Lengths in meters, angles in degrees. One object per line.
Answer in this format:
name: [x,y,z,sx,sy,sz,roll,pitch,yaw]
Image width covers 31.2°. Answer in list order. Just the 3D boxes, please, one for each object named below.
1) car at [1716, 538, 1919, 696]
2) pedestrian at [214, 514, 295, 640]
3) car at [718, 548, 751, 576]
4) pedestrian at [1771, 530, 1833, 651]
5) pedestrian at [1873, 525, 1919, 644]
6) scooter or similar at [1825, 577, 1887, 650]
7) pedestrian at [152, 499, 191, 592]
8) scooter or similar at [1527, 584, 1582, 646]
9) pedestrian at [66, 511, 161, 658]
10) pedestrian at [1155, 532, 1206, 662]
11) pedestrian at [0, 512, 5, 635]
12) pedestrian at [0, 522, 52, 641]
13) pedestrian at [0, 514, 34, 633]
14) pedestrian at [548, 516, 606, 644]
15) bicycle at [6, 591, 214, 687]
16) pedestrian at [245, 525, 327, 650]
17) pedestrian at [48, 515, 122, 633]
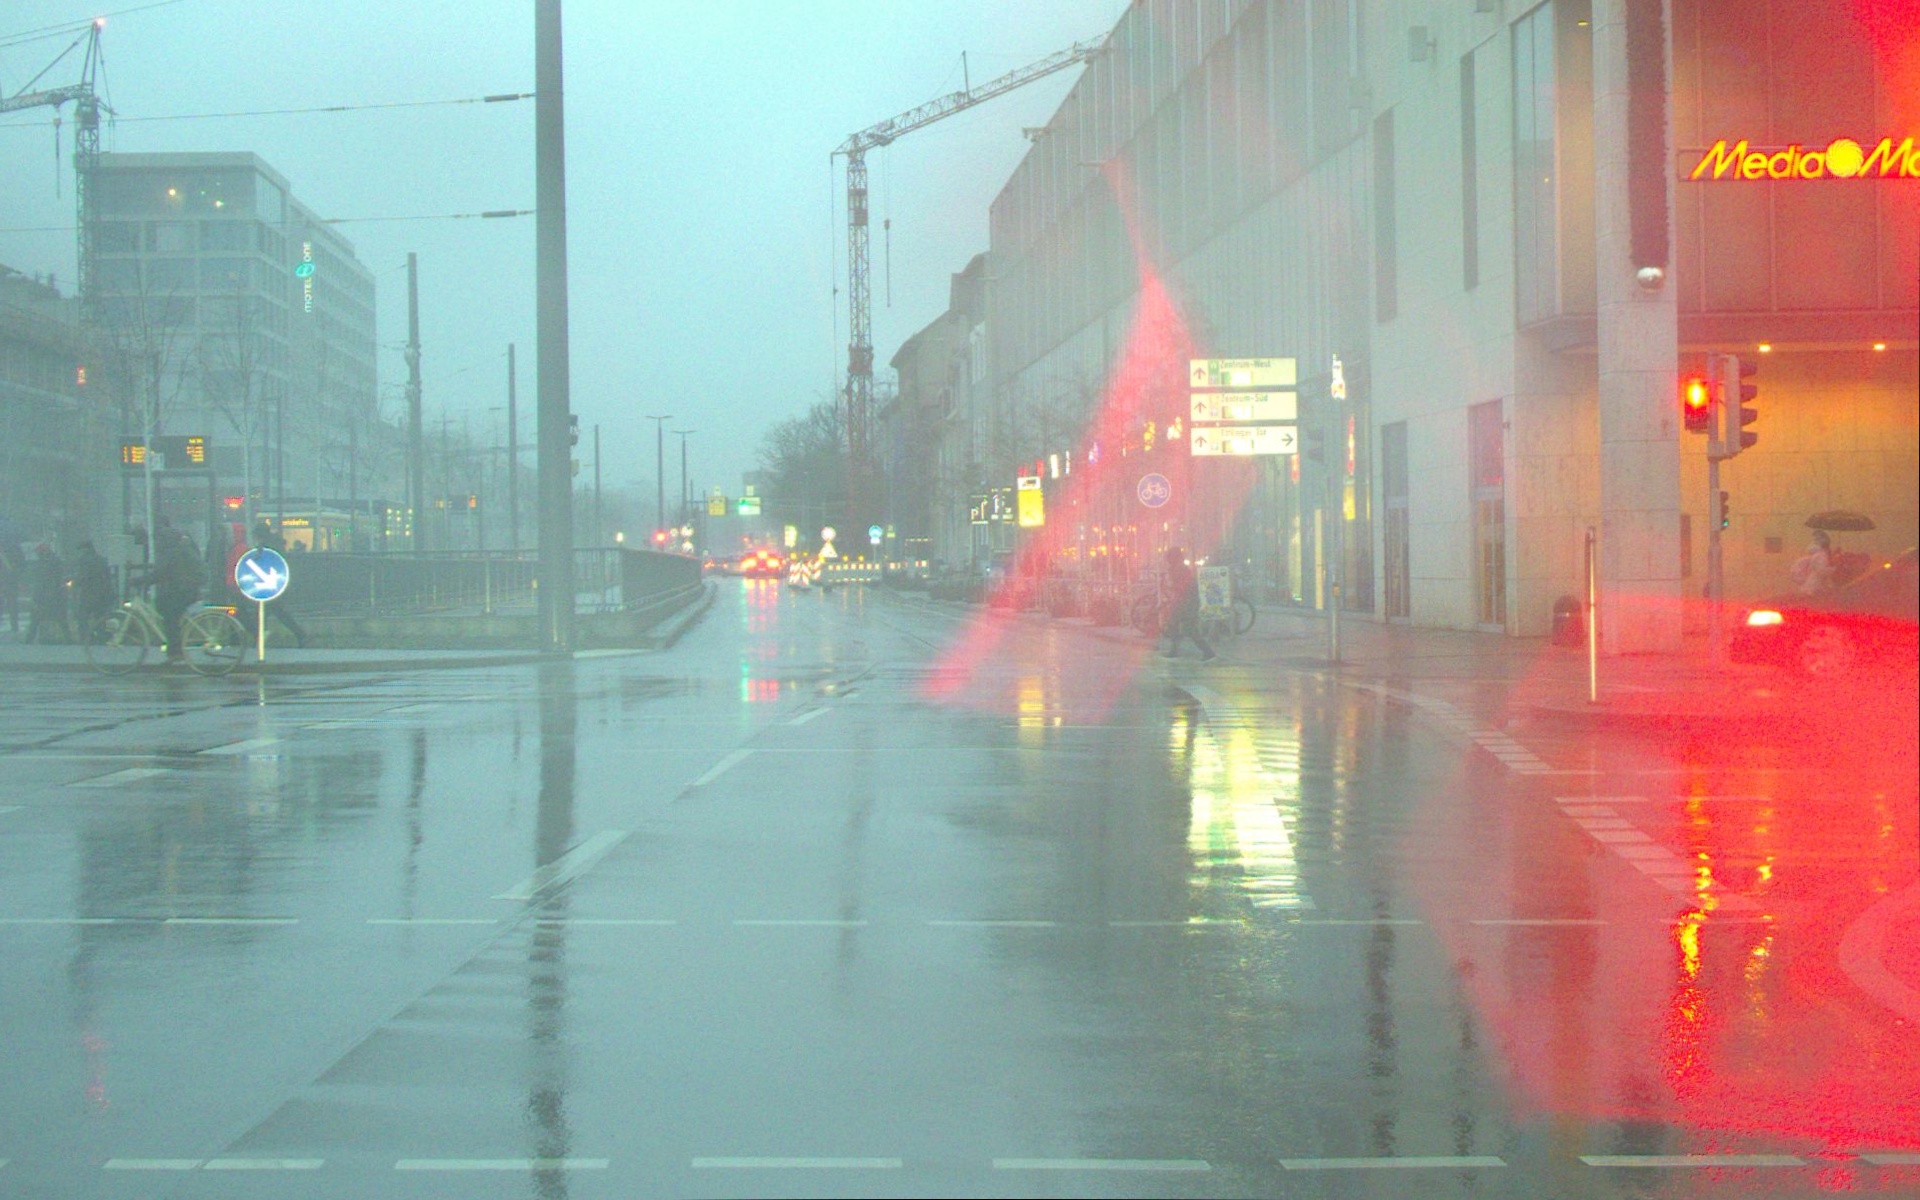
car: [10.144,0.148,35.352,4.538,1.568,1.796,-1,1,10]
pedestrian: [-9.459,-0.308,46.090,0.832,1.673,0.619,-1,1,22]
car: [-14.639,-2.469,223.555,1.888,1.777,3.714,1,0,-1]
pedestrian: [11.707,-0.139,47.799,0.741,1.661,0.400,-1,1,0]
pedestrian: [13.715,-0.229,50.254,0.536,1.712,0.501,0,1,37]
scooter or similar: [12.457,0.186,47.804,0.741,0.990,0.400,-1,1,0]
pedestrian: [-14.988,-1.036,65.344,0.660,1.740,0.736,-1,1,-11]
scooter or similar: [8.867,0.225,51.284,0.741,0.913,0.400,-1,1,1]
pedestrian: [-9.366,-0.168,38.059,0.814,1.565,0.536,2,-5,1]
pedestrian: [3.020,-0.045,47.087,0.633,1.766,0.484,-1,1,-2]
pedestrian: [-13.965,-0.372,48.858,0.619,1.740,0.613,-1,1,-3]
pedestrian: [-12.900,-0.259,47.196,0.706,1.613,0.613,-1,1,-3]
pedestrian: [-13.976,-0.387,50.472,0.619,1.740,0.613,-1,1,-6]
pedestrian: [-5.308,-0.275,47.686,0.703,1.754,0.652,-1,1,-1]
bicycle: [-9.382,0.434,37.989,2.128,0.988,0.541,1,-2,1]
pedestrian: [-9.167,-0.169,46.795,0.843,1.682,0.676,-1,1,18]
pedestrian: [-12.093,-0.361,47.522,0.809,1.602,0.745,-1,1,-1]
